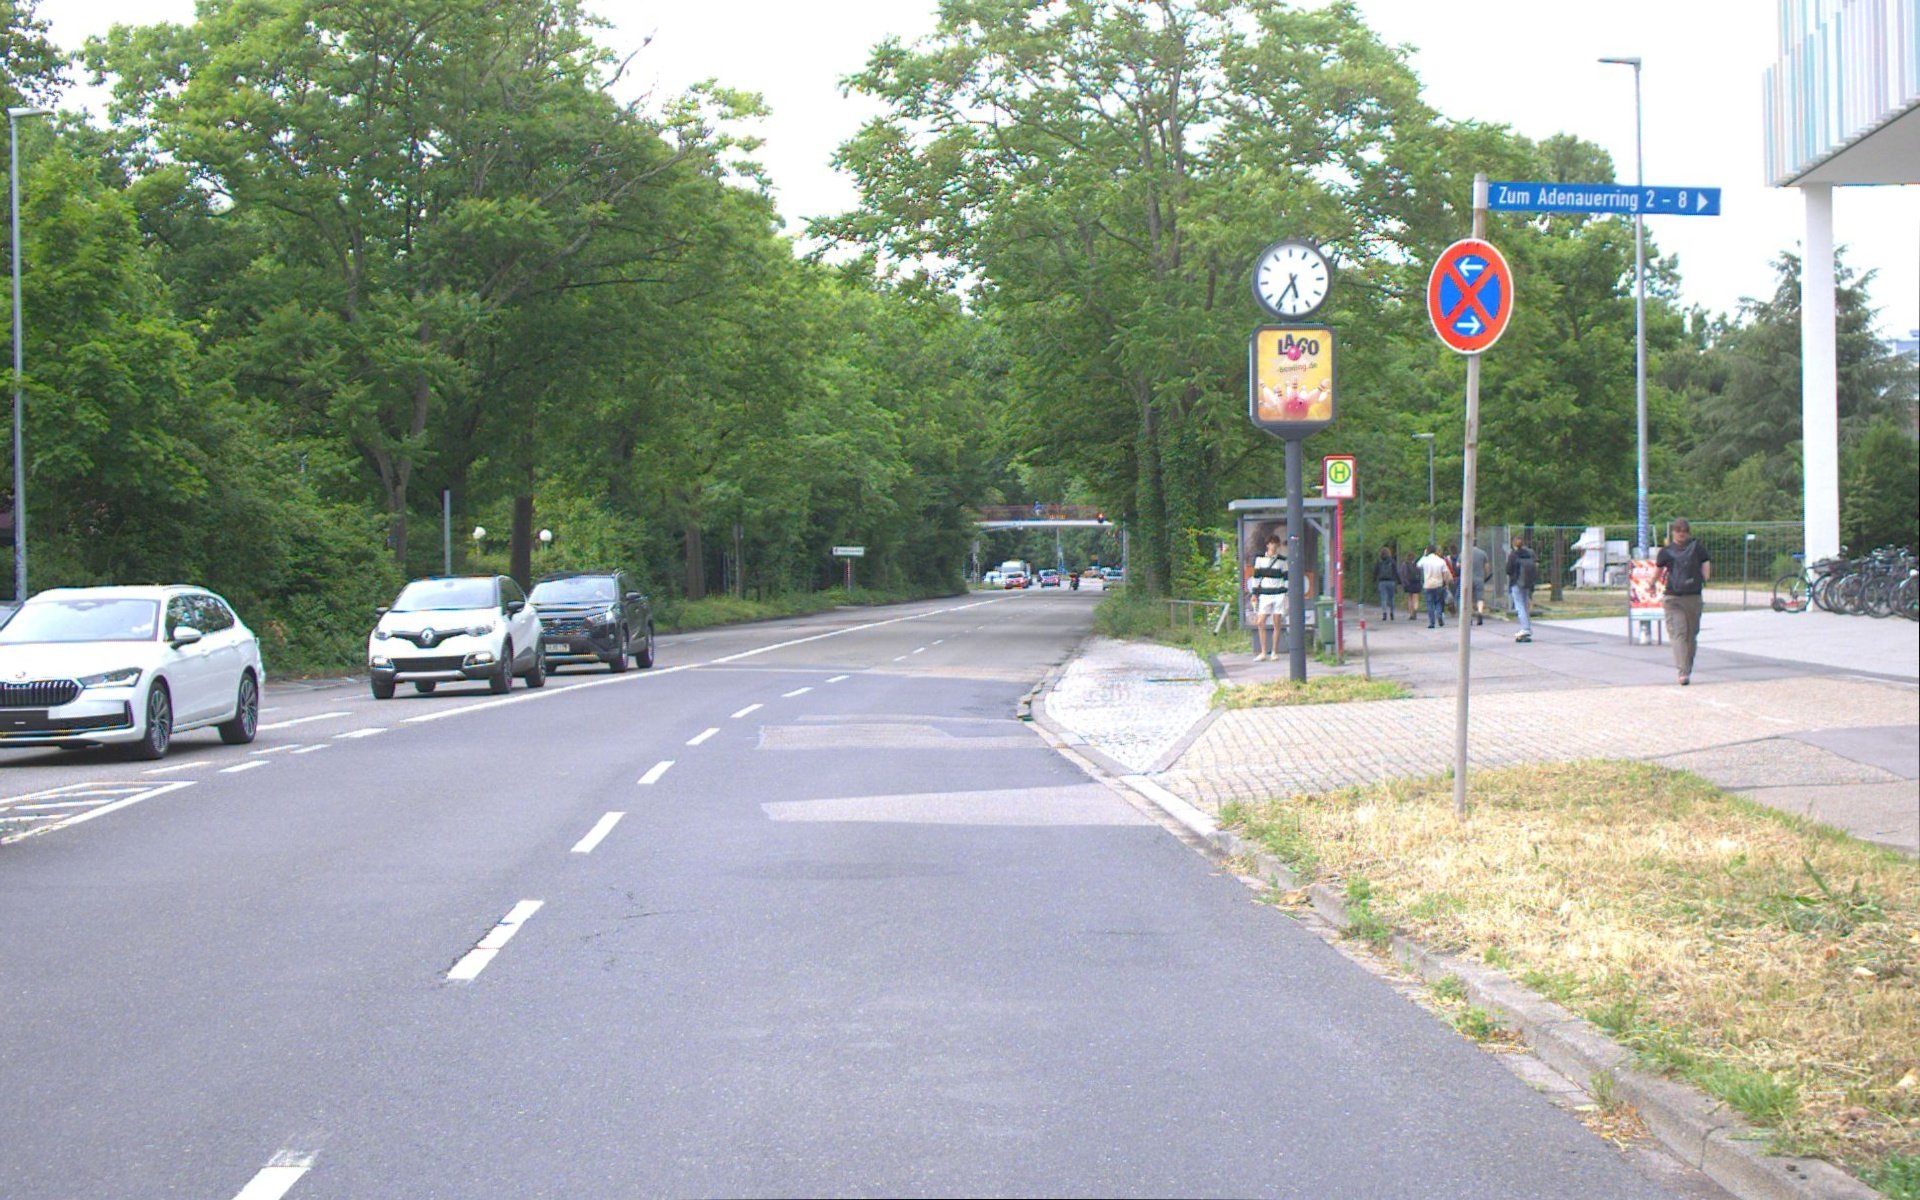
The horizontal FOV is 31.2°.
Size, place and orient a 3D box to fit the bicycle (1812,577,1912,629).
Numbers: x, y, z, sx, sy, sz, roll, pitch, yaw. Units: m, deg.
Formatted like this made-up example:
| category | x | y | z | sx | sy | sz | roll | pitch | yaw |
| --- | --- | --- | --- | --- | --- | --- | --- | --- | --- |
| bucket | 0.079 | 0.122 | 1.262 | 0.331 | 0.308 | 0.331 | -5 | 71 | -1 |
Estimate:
| category | x | y | z | sx | sy | sz | roll | pitch | yaw |
| --- | --- | --- | --- | --- | --- | --- | --- | --- | --- |
| bicycle | 16.054 | 0.055 | 61.196 | 1.606 | 0.872 | 0.556 | -2 | 0 | 4 |

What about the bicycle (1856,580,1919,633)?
| category | x | y | z | sx | sy | sz | roll | pitch | yaw |
| --- | --- | --- | --- | --- | --- | --- | --- | --- | --- |
| bicycle | 16.109 | 0.100 | 58.396 | 1.606 | 0.872 | 0.556 | -2 | 0 | 4 |

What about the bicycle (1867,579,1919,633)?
| category | x | y | z | sx | sy | sz | roll | pitch | yaw |
| --- | --- | --- | --- | --- | --- | --- | --- | --- | --- |
| bicycle | 16.033 | 0.092 | 57.440 | 1.603 | 0.881 | 0.516 | -1 | 0 | 3 |

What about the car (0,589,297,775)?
| category | x | y | z | sx | sy | sz | roll | pitch | yaw |
| --- | --- | --- | --- | --- | --- | --- | --- | --- | --- |
| car | -7.416 | 0.655 | 30.362 | 1.904 | 1.460 | 4.910 | 1 | 0 | 3 |

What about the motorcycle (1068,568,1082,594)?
| category | x | y | z | sx | sy | sz | roll | pitch | yaw |
| --- | --- | --- | --- | --- | --- | --- | --- | --- | --- |
| motorcycle | 8.600 | -1.399 | 256.845 | 0.990 | 1.929 | 2.669 | 1 | 0 | 3 |

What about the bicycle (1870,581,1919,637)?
| category | x | y | z | sx | sy | sz | roll | pitch | yaw |
| --- | --- | --- | --- | --- | --- | --- | --- | --- | --- |
| bicycle | 14.833 | 0.124 | 52.810 | 1.532 | 0.831 | 0.556 | -2 | 0 | 4 |

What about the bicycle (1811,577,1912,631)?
| category | x | y | z | sx | sy | sz | roll | pitch | yaw |
| --- | --- | --- | --- | --- | --- | --- | --- | --- | --- |
| bicycle | 15.871 | 0.068 | 60.548 | 1.606 | 0.872 | 0.556 | -2 | 0 | 4 |

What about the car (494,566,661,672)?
| category | x | y | z | sx | sy | sz | roll | pitch | yaw |
| --- | --- | --- | --- | --- | --- | --- | --- | --- | --- |
| car | -6.106 | 0.282 | 55.334 | 1.903 | 1.588 | 4.516 | -1 | 0 | 3 |

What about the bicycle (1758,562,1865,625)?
| category | x | y | z | sx | sy | sz | roll | pitch | yaw |
| --- | --- | --- | --- | --- | --- | --- | --- | --- | --- |
| bicycle | 15.885 | -0.119 | 64.171 | 1.794 | 1.078 | 0.626 | -3 | 0 | 2 |

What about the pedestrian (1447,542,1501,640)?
| category | x | y | z | sx | sy | sz | roll | pitch | yaw |
| --- | --- | --- | --- | --- | --- | --- | --- | --- | --- |
| pedestrian | 10.677 | -0.190 | 71.456 | 0.925 | 2.007 | 1.040 | -1 | 0 | -1 |

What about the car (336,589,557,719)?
| category | x | y | z | sx | sy | sz | roll | pitch | yaw |
| --- | --- | --- | --- | --- | --- | --- | --- | --- | --- |
| car | -6.673 | 0.670 | 45.121 | 1.994 | 1.541 | 4.179 | -2 | 0 | 3 |

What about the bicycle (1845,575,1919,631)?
| category | x | y | z | sx | sy | sz | roll | pitch | yaw |
| --- | --- | --- | --- | --- | --- | --- | --- | --- | --- |
| bicycle | 15.399 | 0.035 | 56.412 | 1.606 | 0.872 | 0.556 | -2 | 0 | 4 |

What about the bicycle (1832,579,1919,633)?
| category | x | y | z | sx | sy | sz | roll | pitch | yaw |
| --- | --- | --- | --- | --- | --- | --- | --- | --- | --- |
| bicycle | 15.997 | 0.103 | 59.595 | 1.606 | 0.872 | 0.556 | -2 | 0 | 4 |

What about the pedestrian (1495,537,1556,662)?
| category | x | y | z | sx | sy | sz | roll | pitch | yaw |
| --- | --- | --- | --- | --- | --- | --- | --- | --- | --- |
| pedestrian | 9.215 | -0.004 | 56.048 | 0.842 | 2.007 | 0.894 | -1 | 0 | 4 |

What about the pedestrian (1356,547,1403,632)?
| category | x | y | z | sx | sy | sz | roll | pitch | yaw |
| --- | --- | --- | --- | --- | --- | --- | --- | --- | --- |
| pedestrian | 9.999 | -0.252 | 81.925 | 0.925 | 2.007 | 1.040 | -1 | 0 | -1 |

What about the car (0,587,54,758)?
| category | x | y | z | sx | sy | sz | roll | pitch | yaw |
| --- | --- | --- | --- | --- | --- | --- | --- | --- | --- |
| car | -10.513 | 0.745 | 33.374 | 1.994 | 1.688 | 4.467 | -1 | 0 | 3 |

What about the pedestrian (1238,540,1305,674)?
| category | x | y | z | sx | sy | sz | roll | pitch | yaw |
| --- | --- | --- | --- | --- | --- | --- | --- | --- | --- |
| pedestrian | 4.863 | 0.100 | 53.715 | 0.912 | 2.006 | 0.854 | -3 | 2 | 2 |

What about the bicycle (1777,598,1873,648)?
| category | x | y | z | sx | sy | sz | roll | pitch | yaw |
| --- | --- | --- | --- | --- | --- | --- | --- | --- | --- |
| bicycle | 15.622 | 0.414 | 62.103 | 1.606 | 0.872 | 0.556 | -1 | 0 | 4 |

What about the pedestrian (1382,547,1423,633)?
| category | x | y | z | sx | sy | sz | roll | pitch | yaw |
| --- | --- | --- | --- | --- | --- | --- | --- | --- | --- |
| pedestrian | 10.492 | -0.229 | 81.473 | 0.824 | 2.007 | 0.720 | -1 | 0 | -1 |

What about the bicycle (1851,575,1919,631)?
| category | x | y | z | sx | sy | sz | roll | pitch | yaw |
| --- | --- | --- | --- | --- | --- | --- | --- | --- | --- |
| bicycle | 15.359 | 0.041 | 55.829 | 1.606 | 0.872 | 0.556 | -2 | 0 | 4 |

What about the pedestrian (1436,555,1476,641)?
| category | x | y | z | sx | sy | sz | roll | pitch | yaw |
| --- | --- | --- | --- | --- | --- | --- | --- | --- | --- |
| pedestrian | 11.761 | -0.048 | 81.520 | 0.824 | 2.007 | 0.720 | -2 | 0 | 3 |

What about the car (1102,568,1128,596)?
| category | x | y | z | sx | sy | sz | roll | pitch | yaw |
| --- | --- | --- | --- | --- | --- | --- | --- | --- | --- |
| car | 11.399 | -1.327 | 253.145 | 1.843 | 2.007 | 4.000 | 1 | 0 | 3 |

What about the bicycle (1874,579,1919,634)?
| category | x | y | z | sx | sy | sz | roll | pitch | yaw |
| --- | --- | --- | --- | --- | --- | --- | --- | --- | --- |
| bicycle | 16.006 | 0.091 | 56.873 | 1.606 | 0.872 | 0.556 | -2 | 0 | 4 |

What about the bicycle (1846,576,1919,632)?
| category | x | y | z | sx | sy | sz | roll | pitch | yaw |
| --- | --- | --- | --- | --- | --- | --- | --- | --- | --- |
| bicycle | 14.740 | 0.054 | 54.051 | 1.455 | 0.836 | 0.556 | -2 | 0 | 4 |

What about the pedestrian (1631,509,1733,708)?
| category | x | y | z | sx | sy | sz | roll | pitch | yaw |
| --- | --- | --- | --- | --- | --- | --- | --- | --- | --- |
| pedestrian | 7.509 | 0.085 | 35.792 | 0.842 | 2.007 | 0.894 | -3 | 0 | 5 |

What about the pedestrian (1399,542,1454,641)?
| category | x | y | z | sx | sy | sz | roll | pitch | yaw |
| --- | --- | --- | --- | --- | --- | --- | --- | --- | --- |
| pedestrian | 9.709 | -0.178 | 71.581 | 0.925 | 2.007 | 1.040 | -1 | 0 | -1 |

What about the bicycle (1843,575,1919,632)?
| category | x | y | z | sx | sy | sz | roll | pitch | yaw |
| --- | --- | --- | --- | --- | --- | --- | --- | --- | --- |
| bicycle | 14.974 | 0.049 | 54.832 | 1.606 | 0.872 | 0.556 | -2 | 0 | 4 |

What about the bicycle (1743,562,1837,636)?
| category | x | y | z | sx | sy | sz | roll | pitch | yaw |
| --- | --- | --- | --- | --- | --- | --- | --- | --- | --- |
| bicycle | 15.920 | -0.023 | 65.950 | 1.648 | 1.329 | 0.463 | -3 | 0 | 17 |
